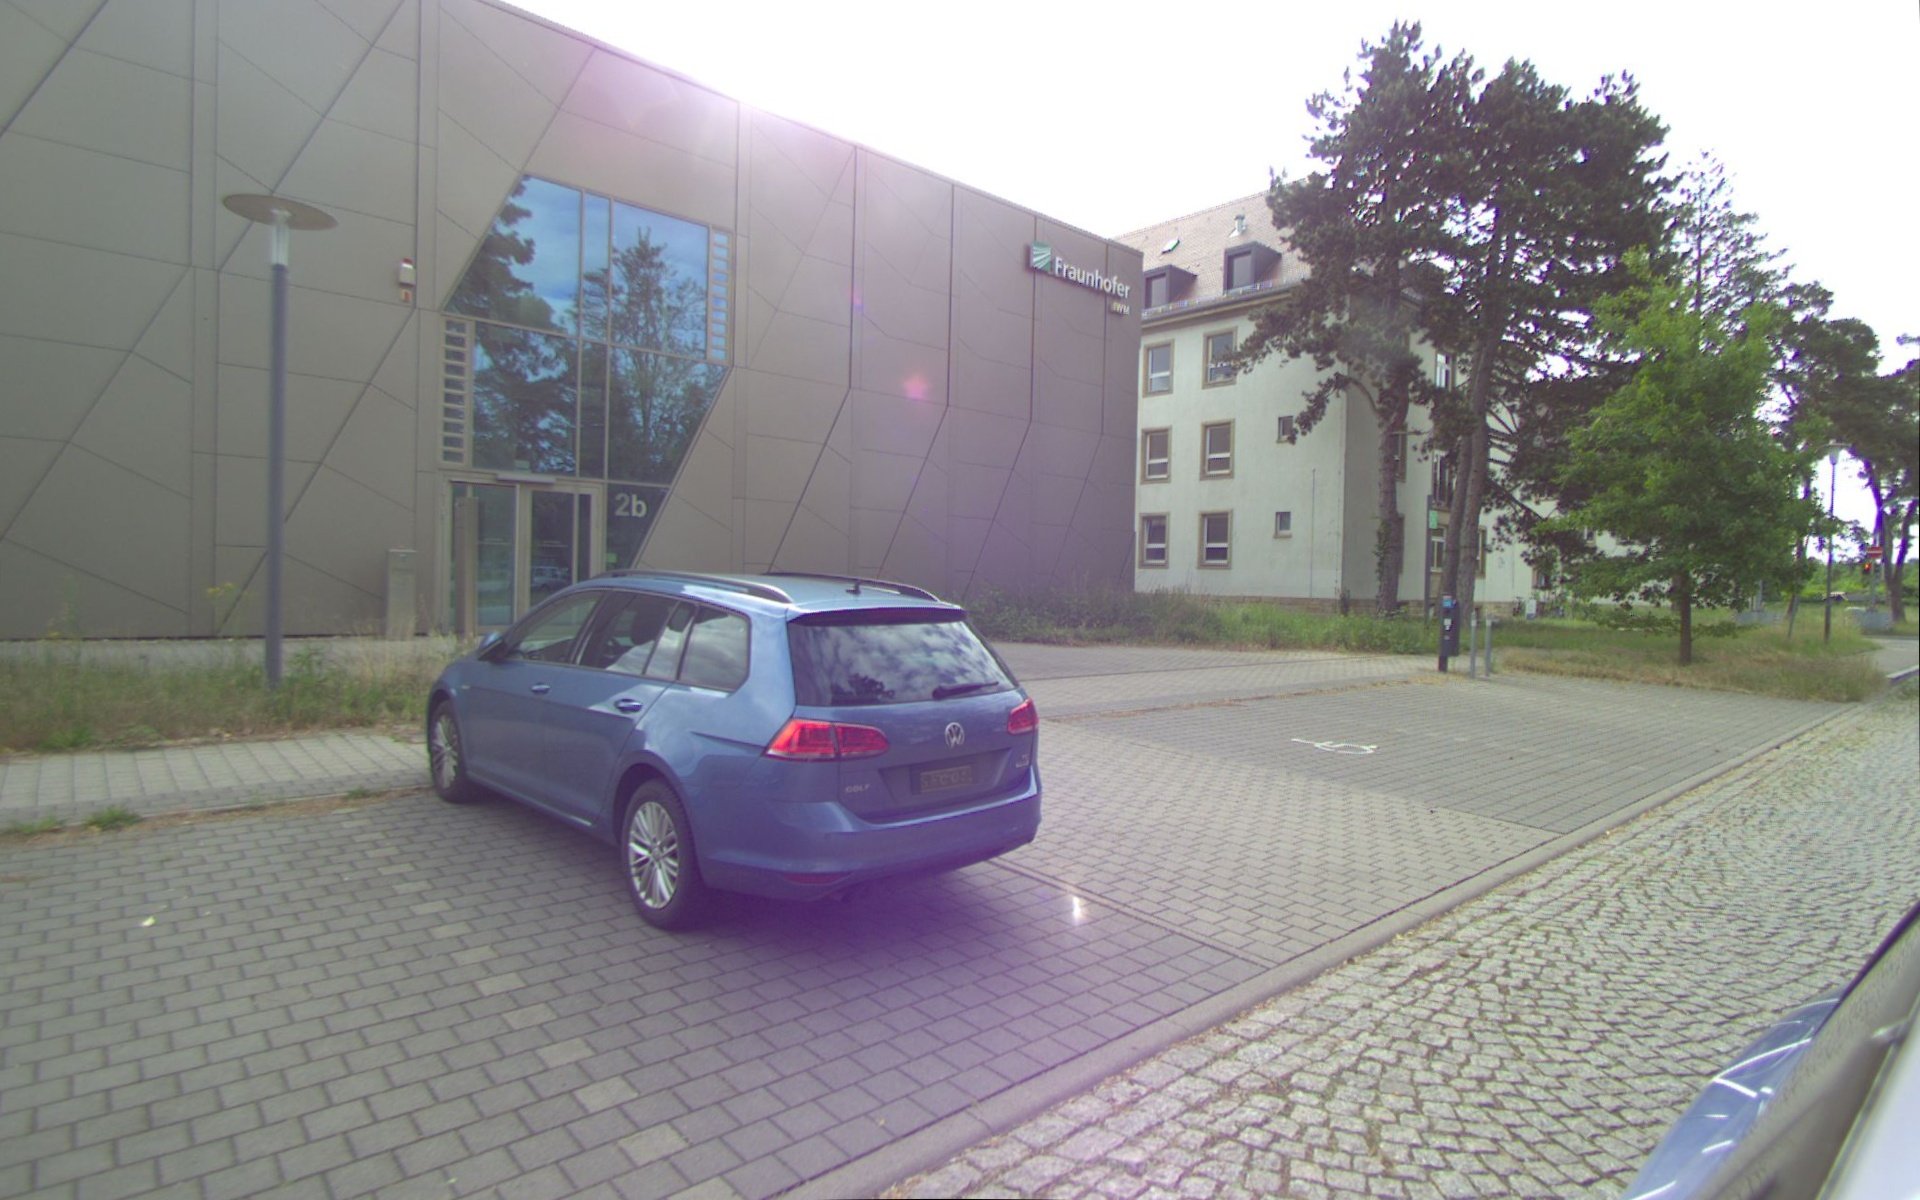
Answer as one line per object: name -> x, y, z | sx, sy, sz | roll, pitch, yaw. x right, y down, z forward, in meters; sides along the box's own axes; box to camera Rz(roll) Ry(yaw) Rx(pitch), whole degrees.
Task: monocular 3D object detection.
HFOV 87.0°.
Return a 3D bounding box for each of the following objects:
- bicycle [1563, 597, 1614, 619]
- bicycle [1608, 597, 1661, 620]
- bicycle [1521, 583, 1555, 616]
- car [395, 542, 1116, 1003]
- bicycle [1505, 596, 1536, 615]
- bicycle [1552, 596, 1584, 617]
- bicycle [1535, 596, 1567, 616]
bicycle -> 33.025, 0.397, 53.184 | 0.706, 1.070, 2.160 | 0, 1, -45
bicycle -> 34.352, 0.422, 51.578 | 0.706, 1.108, 2.160 | 0, 1, -45
bicycle -> 32.153, -0.025, 56.305 | 2.159, 1.753, 0.905 | 0, 1, -39
car -> -1.526, 0.504, 5.768 | 1.900, 1.467, 4.531 | 0, 4, -43
bicycle -> 31.524, 0.300, 56.886 | 2.159, 1.070, 0.800 | 0, 1, -39
bicycle -> 32.956, 0.358, 54.867 | 2.127, 1.070, 0.800 | 0, 1, -39
bicycle -> 32.404, 0.337, 55.513 | 2.159, 1.070, 0.800 | 0, 1, -39
